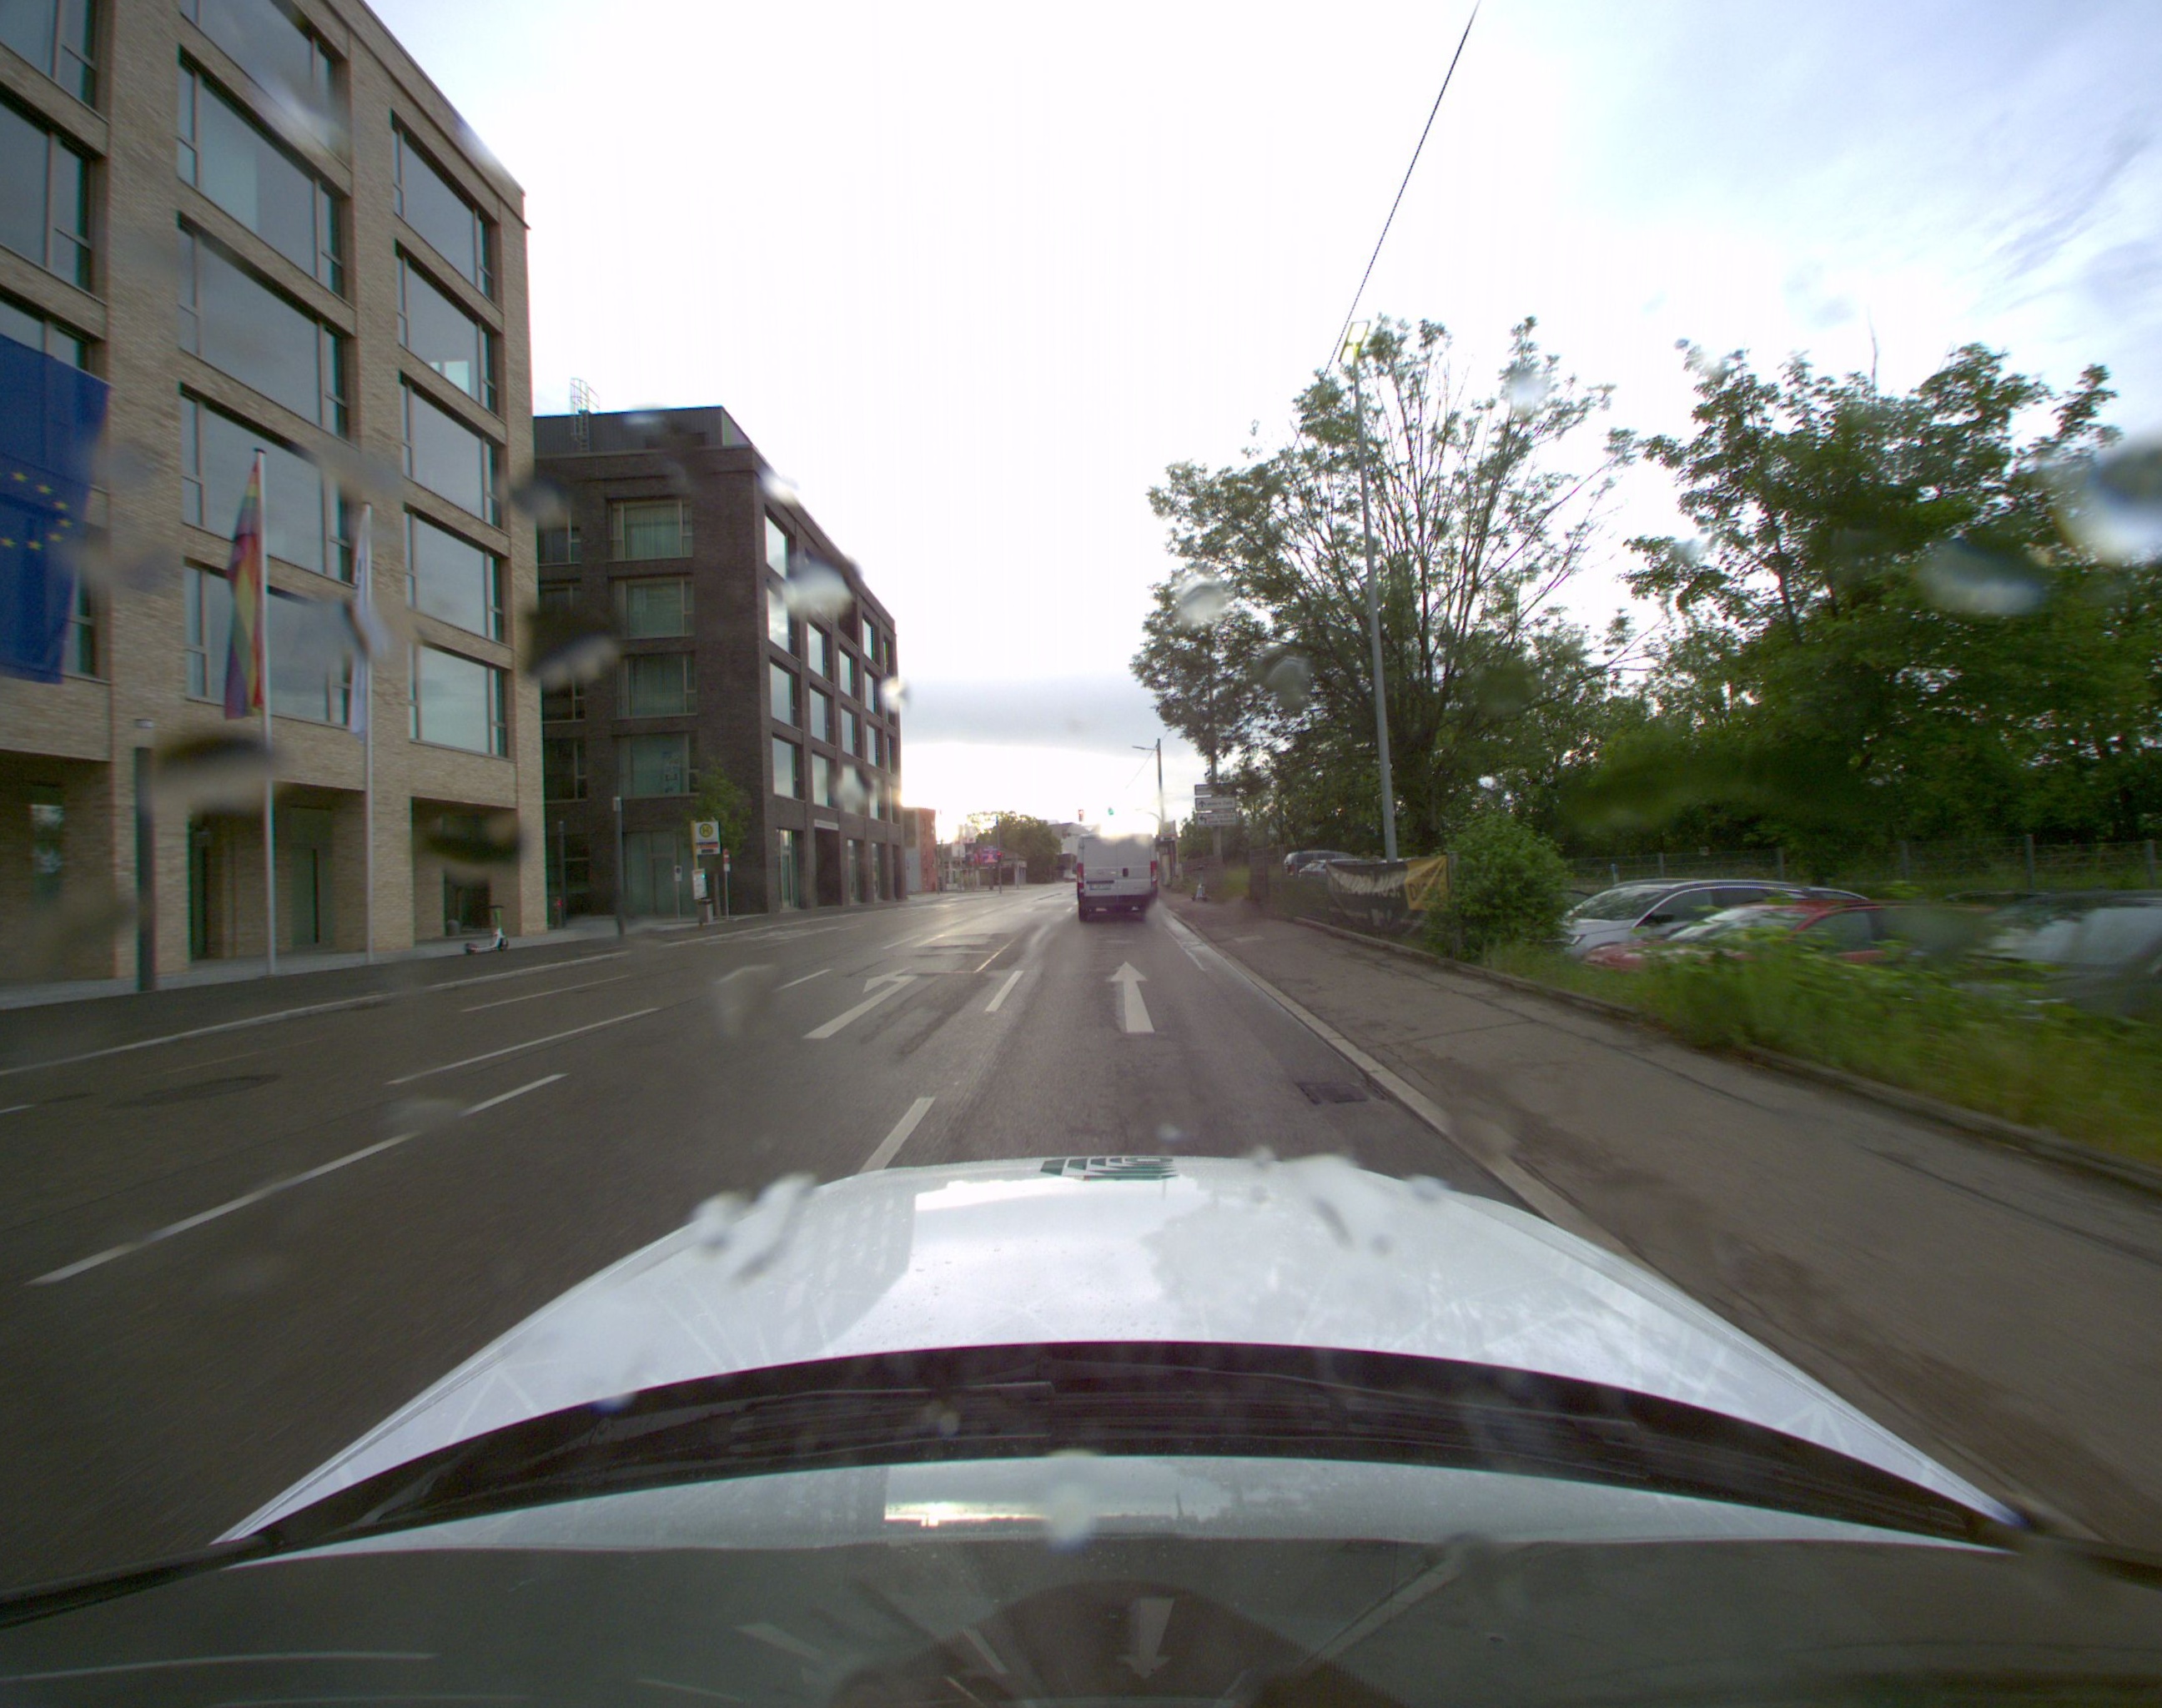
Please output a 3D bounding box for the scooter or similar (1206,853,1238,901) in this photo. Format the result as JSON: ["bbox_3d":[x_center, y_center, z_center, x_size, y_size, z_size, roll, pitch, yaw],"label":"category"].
[{"bbox_3d":[4.744,0.751,27.419,0.436,1.564,1.264,-2,0,-20],"label":"scooter or similar"}]

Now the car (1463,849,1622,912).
[{"bbox_3d":[14.612,0.810,25.933,3.979,1.521,1.801,-6,0,-4],"label":"car"}]

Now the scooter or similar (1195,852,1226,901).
[{"bbox_3d":[4.322,0.752,27.251,0.436,1.587,1.264,-2,0,-21],"label":"scooter or similar"}]

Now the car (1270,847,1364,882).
[{"bbox_3d":[11.372,0.510,39.432,3.979,1.522,1.801,-2,0,-4],"label":"car"}]

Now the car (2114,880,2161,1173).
[{"bbox_3d":[7.909,0.895,3.697,4.114,1.589,1.761,-2,0,1],"label":"car"}]

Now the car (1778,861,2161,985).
[{"bbox_3d":[12.852,0.925,11.854,3.979,1.522,1.801,-2,0,-4],"label":"car"}]

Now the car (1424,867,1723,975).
[{"bbox_3d":[8.121,1.051,13.662,3.979,1.522,1.801,-2,0,-4],"label":"car"}]

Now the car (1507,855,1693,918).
[{"bbox_3d":[14.070,0.841,22.229,3.979,1.522,1.801,-2,0,-4],"label":"car"}]

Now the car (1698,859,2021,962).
[{"bbox_3d":[13.269,0.902,14.034,3.979,1.522,1.801,-2,0,-4],"label":"car"}]

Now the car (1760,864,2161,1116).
[{"bbox_3d":[7.931,0.890,6.208,3.972,1.522,1.804,-2,0,1],"label":"car"}]

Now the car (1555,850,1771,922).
[{"bbox_3d":[13.922,0.736,19.619,3.979,1.522,1.801,-2,0,-4],"label":"car"}]

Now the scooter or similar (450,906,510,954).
[{"bbox_3d":[-14.640,1.828,19.858,0.349,1.072,1.429,-2,-2,2],"label":"scooter or similar"}]

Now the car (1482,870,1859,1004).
[{"bbox_3d":[7.987,1.066,11.280,3.979,1.522,1.801,-2,0,-4],"label":"car"}]

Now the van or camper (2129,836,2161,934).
[{"bbox_3d":[20.559,0.555,12.443,1.986,1.788,5.619,-2,0,2],"label":"van or camper"}]

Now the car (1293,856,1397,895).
[{"bbox_3d":[11.656,0.927,36.113,3.979,1.522,1.801,-2,0,-4],"label":"car"}]

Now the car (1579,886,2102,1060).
[{"bbox_3d":[7.967,1.204,8.866,3.972,1.522,1.804,-2,0,1],"label":"car"}]

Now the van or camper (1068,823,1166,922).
[{"bbox_3d":[0.993,0.446,22.518,2.331,2.357,5.203,-2,0,2],"label":"van or camper"}]
